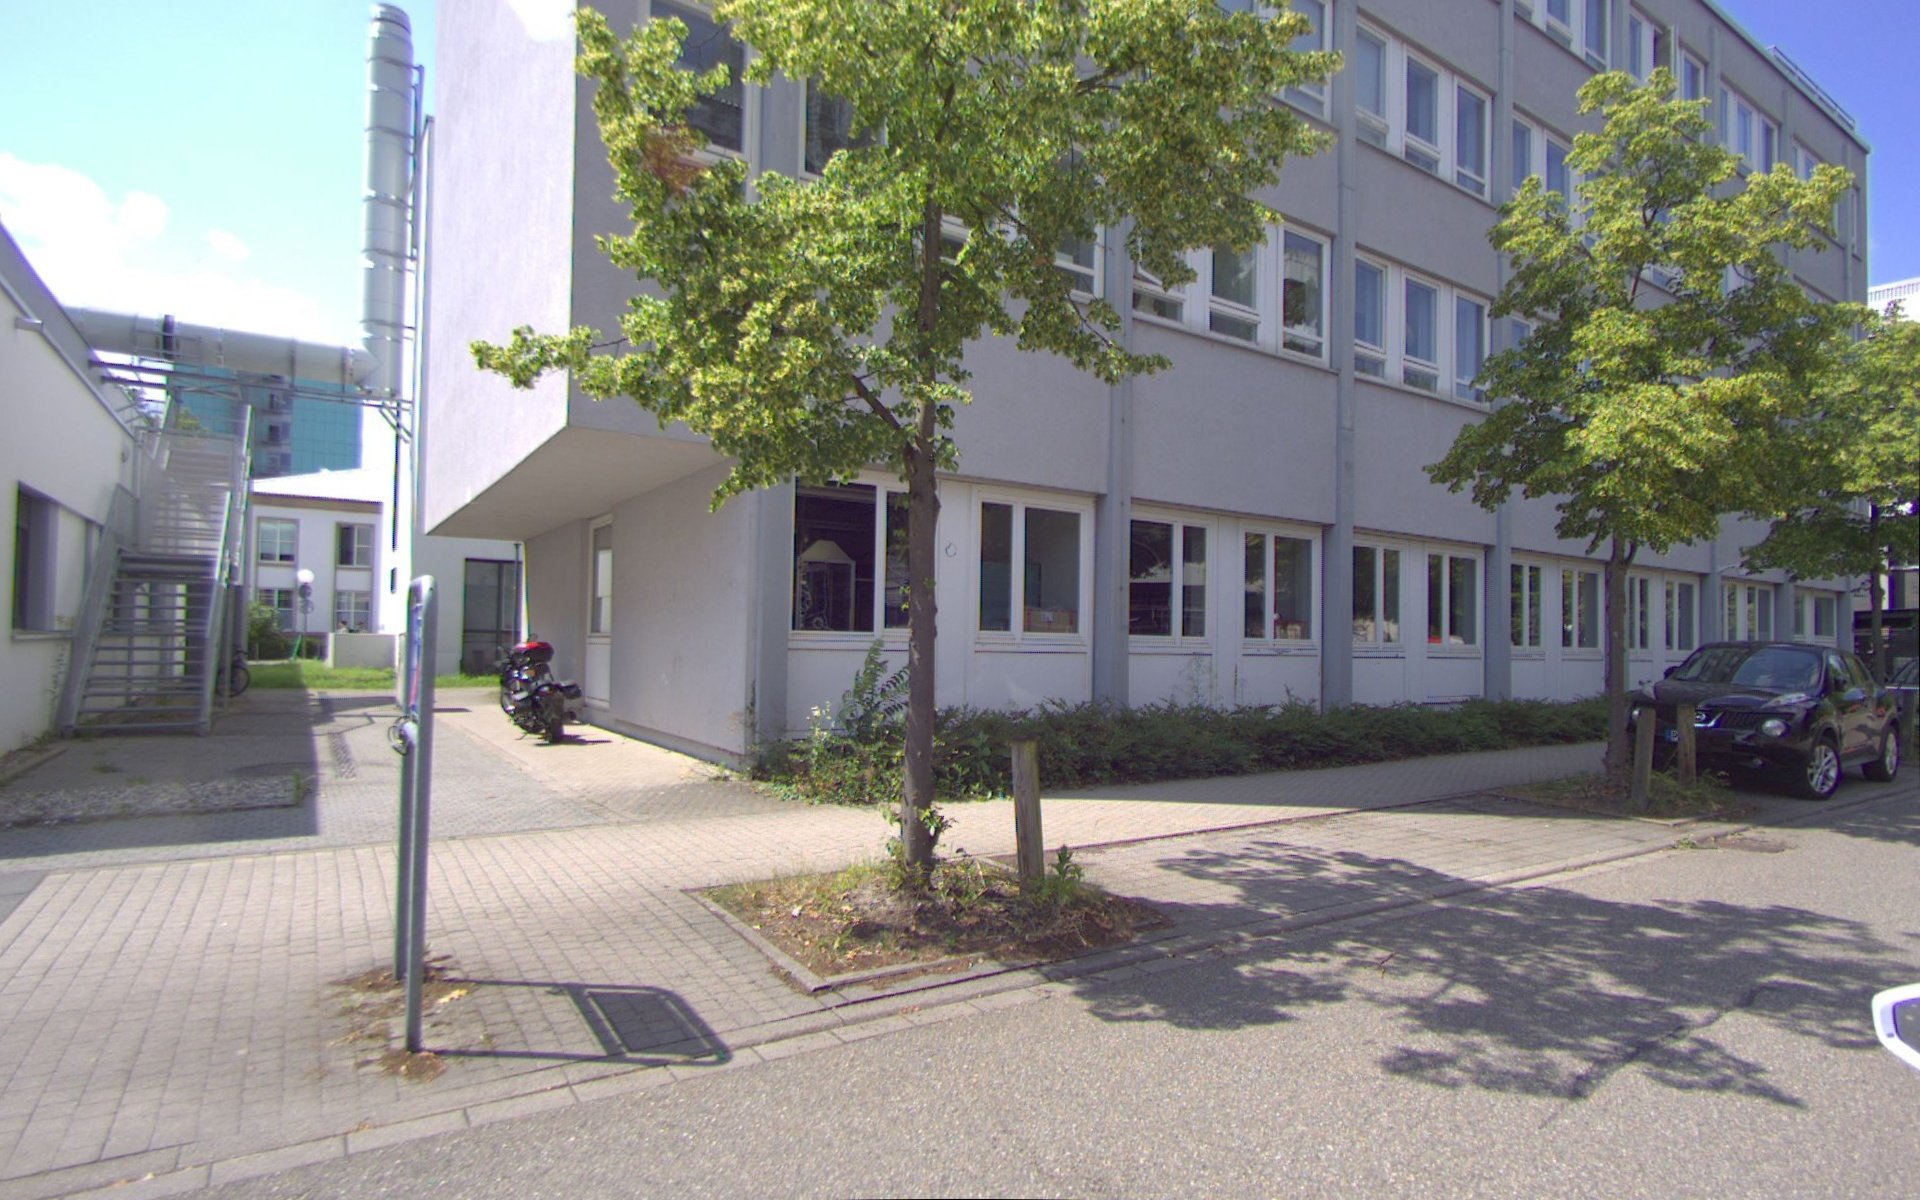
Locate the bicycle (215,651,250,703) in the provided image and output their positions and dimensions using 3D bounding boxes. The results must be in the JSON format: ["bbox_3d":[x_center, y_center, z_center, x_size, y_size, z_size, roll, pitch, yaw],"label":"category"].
[{"bbox_3d":[-14.539,1.521,20.076,0.439,0.986,0.974,2,-2,-31],"label":"bicycle"}]

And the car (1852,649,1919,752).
[{"bbox_3d":[15.821,1.566,15.822,4.218,1.480,1.766,3,-1,-36],"label":"car"}]

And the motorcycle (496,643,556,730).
[{"bbox_3d":[-6.805,1.317,15.697,0.625,1.263,1.769,2,-2,-30],"label":"motorcycle"}]

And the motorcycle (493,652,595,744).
[{"bbox_3d":[-5.442,1.224,13.060,0.872,1.056,2.164,2,-3,-32],"label":"motorcycle"}]

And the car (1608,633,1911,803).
[{"bbox_3d":[9.134,1.216,11.384,4.029,1.584,1.685,3,-2,-36],"label":"car"}]
